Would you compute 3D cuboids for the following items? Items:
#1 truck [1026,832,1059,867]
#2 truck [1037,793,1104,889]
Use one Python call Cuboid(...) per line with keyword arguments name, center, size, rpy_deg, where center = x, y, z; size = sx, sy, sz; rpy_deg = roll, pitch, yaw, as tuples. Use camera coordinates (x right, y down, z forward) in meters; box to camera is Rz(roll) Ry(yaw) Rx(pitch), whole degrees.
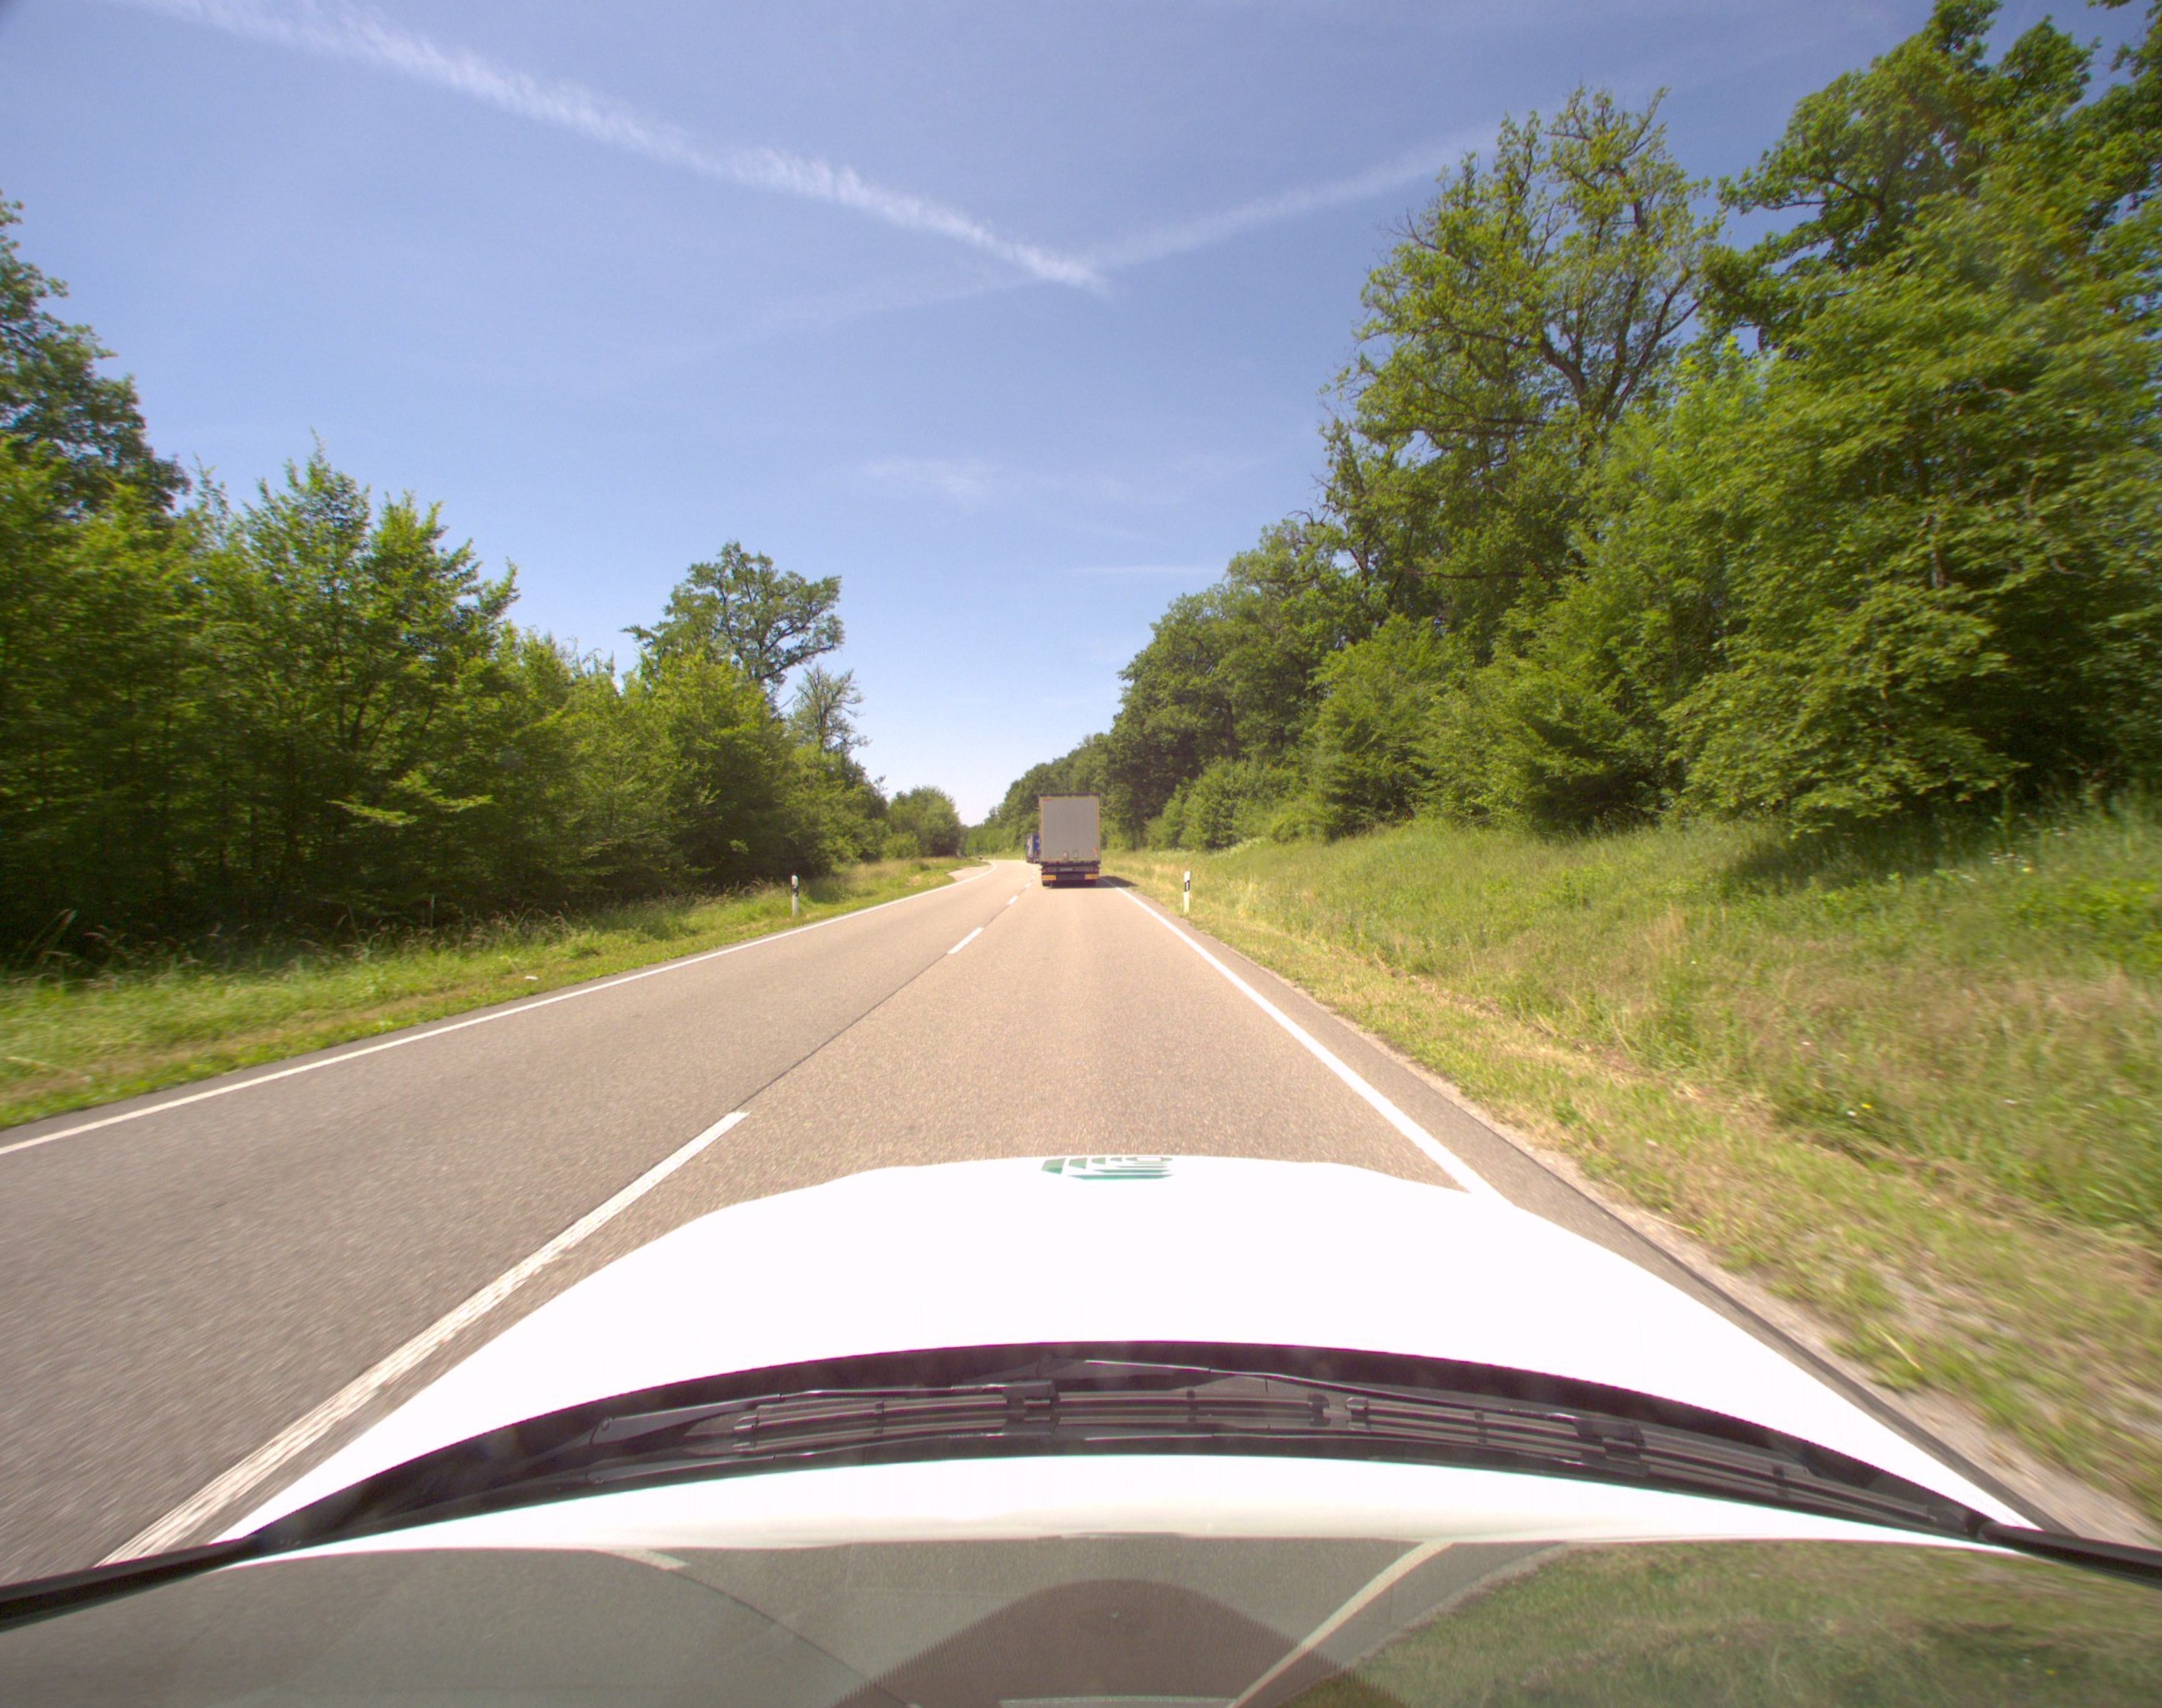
Cuboid(name="truck", center=(-5.410, -0.575, 111.113), size=(3.788, 4.373, 14.890), rpy_deg=(0, 0, -5))
Cuboid(name="truck", center=(-0.506, -0.550, 39.800), size=(2.753, 3.947, 12.192), rpy_deg=(-1, 0, -1))
